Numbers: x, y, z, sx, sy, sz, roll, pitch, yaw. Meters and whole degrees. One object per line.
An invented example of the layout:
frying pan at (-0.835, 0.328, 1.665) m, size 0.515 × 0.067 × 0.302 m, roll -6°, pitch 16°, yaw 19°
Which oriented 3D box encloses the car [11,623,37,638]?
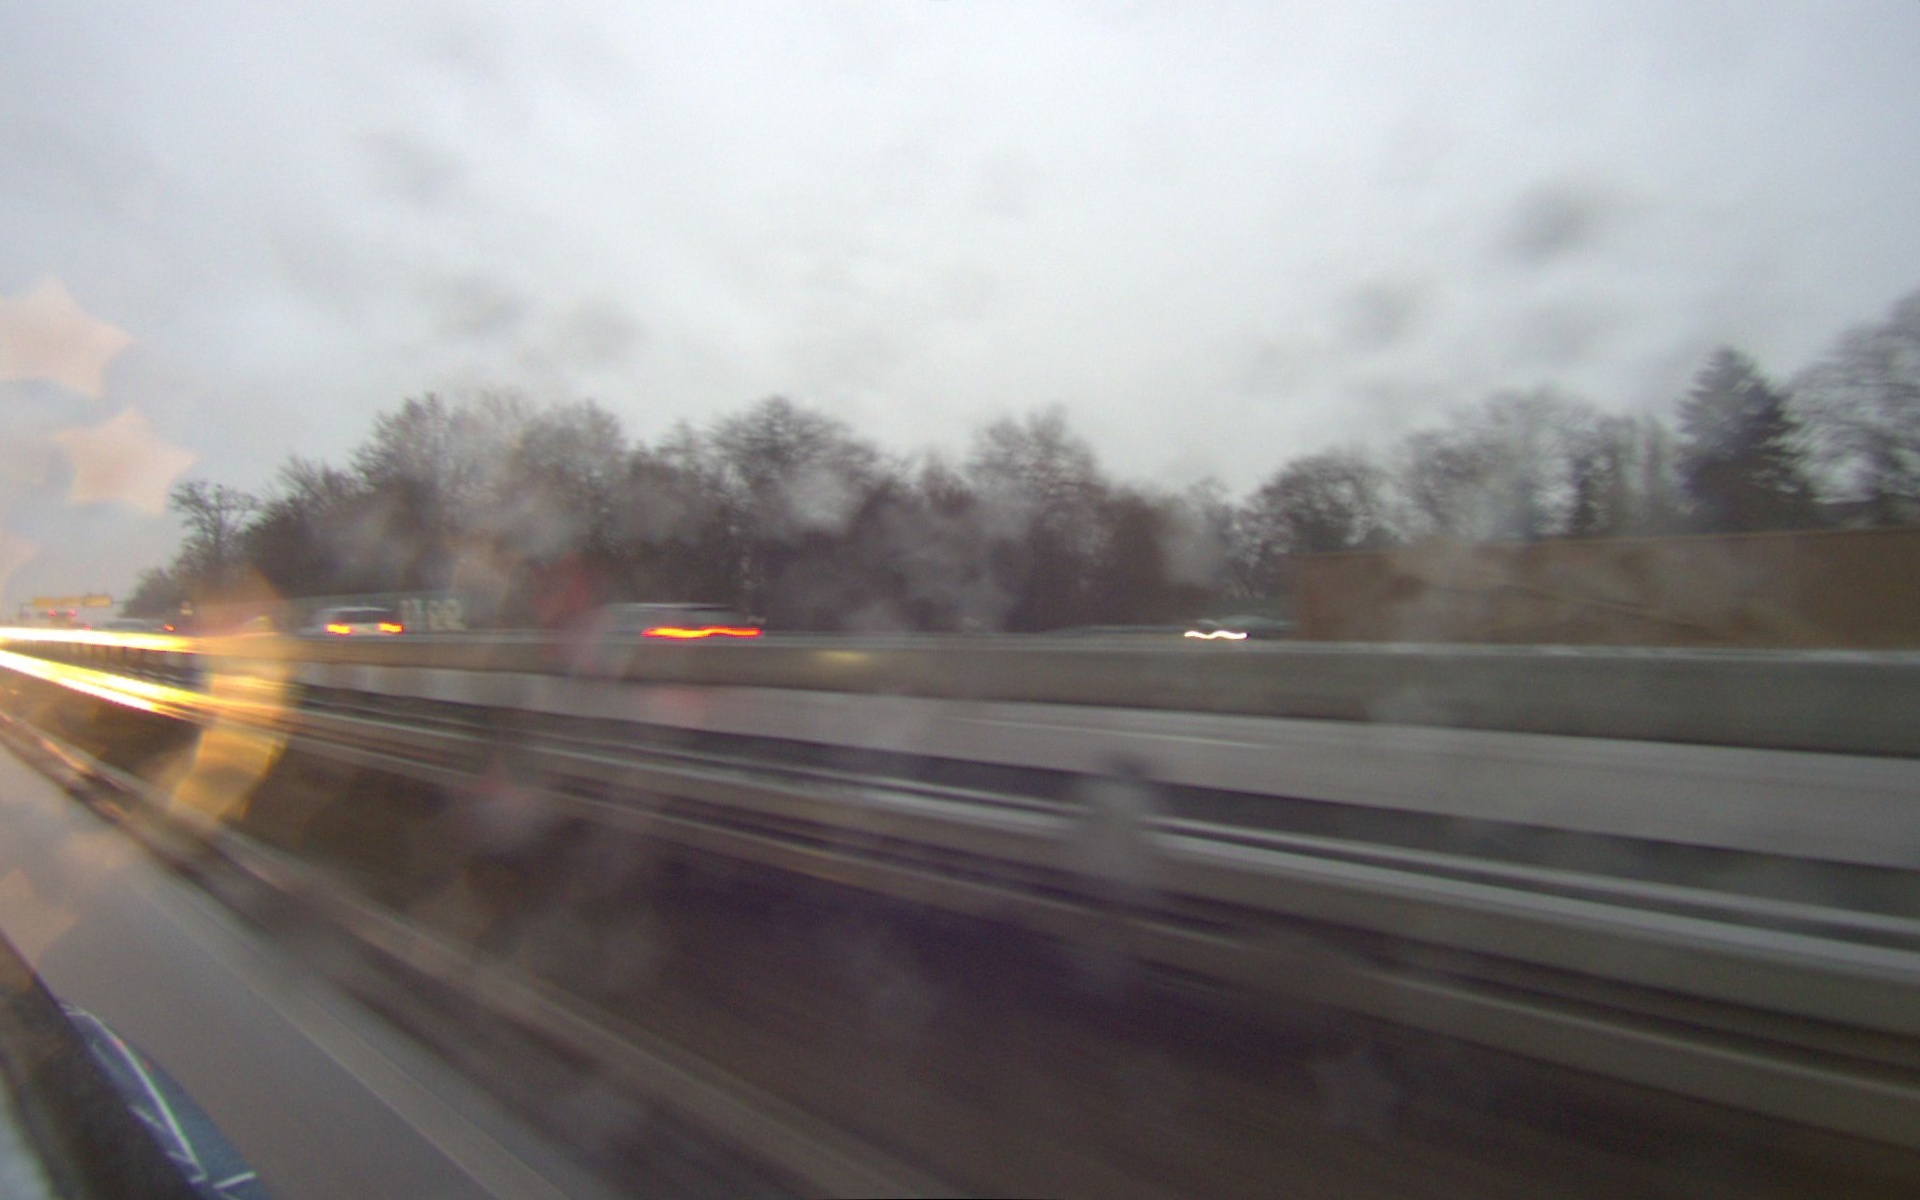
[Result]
car at (-100.512, 3.286, 108.669) m, size 4.673 × 1.493 × 1.844 m, roll -1°, pitch -1°, yaw 44°

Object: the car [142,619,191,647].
car at (-48.043, 1.955, 61.260) m, size 4.178 × 1.619 × 1.708 m, roll -1°, pitch -1°, yaw 43°

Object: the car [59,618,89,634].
car at (-87.650, 2.523, 100.094) m, size 4.285 × 1.525 × 1.971 m, roll -1°, pitch -1°, yaw 45°

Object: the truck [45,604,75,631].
truck at (-135.352, 2.627, 152.154) m, size 3.042 × 3.886 × 9.376 m, roll 0°, pitch -1°, yaw -44°

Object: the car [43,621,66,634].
car at (-116.478, 3.524, 130.180) m, size 4.002 × 1.661 × 1.971 m, roll -1°, pitch -1°, yaw 45°

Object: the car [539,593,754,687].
car at (-6.274, 0.736, 19.954) m, size 4.778 × 1.639 × 1.846 m, roll -1°, pitch -1°, yaw 42°

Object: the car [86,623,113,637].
car at (-99.367, 3.495, 116.819) m, size 4.799 × 1.525 × 1.971 m, roll -1°, pitch -1°, yaw 45°

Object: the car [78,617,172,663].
car at (-29.012, 1.357, 35.118) m, size 4.644 × 1.460 × 1.846 m, roll -1°, pitch -1°, yaw 42°

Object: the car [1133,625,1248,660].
car at (8.765, 1.579, 38.480) m, size 3.931 × 1.170 × 1.809 m, roll -1°, pitch -1°, yaw -22°

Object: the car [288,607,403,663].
car at (-19.607, 1.077, 32.198) m, size 4.644 × 1.639 × 1.846 m, roll -1°, pitch -1°, yaw 42°
